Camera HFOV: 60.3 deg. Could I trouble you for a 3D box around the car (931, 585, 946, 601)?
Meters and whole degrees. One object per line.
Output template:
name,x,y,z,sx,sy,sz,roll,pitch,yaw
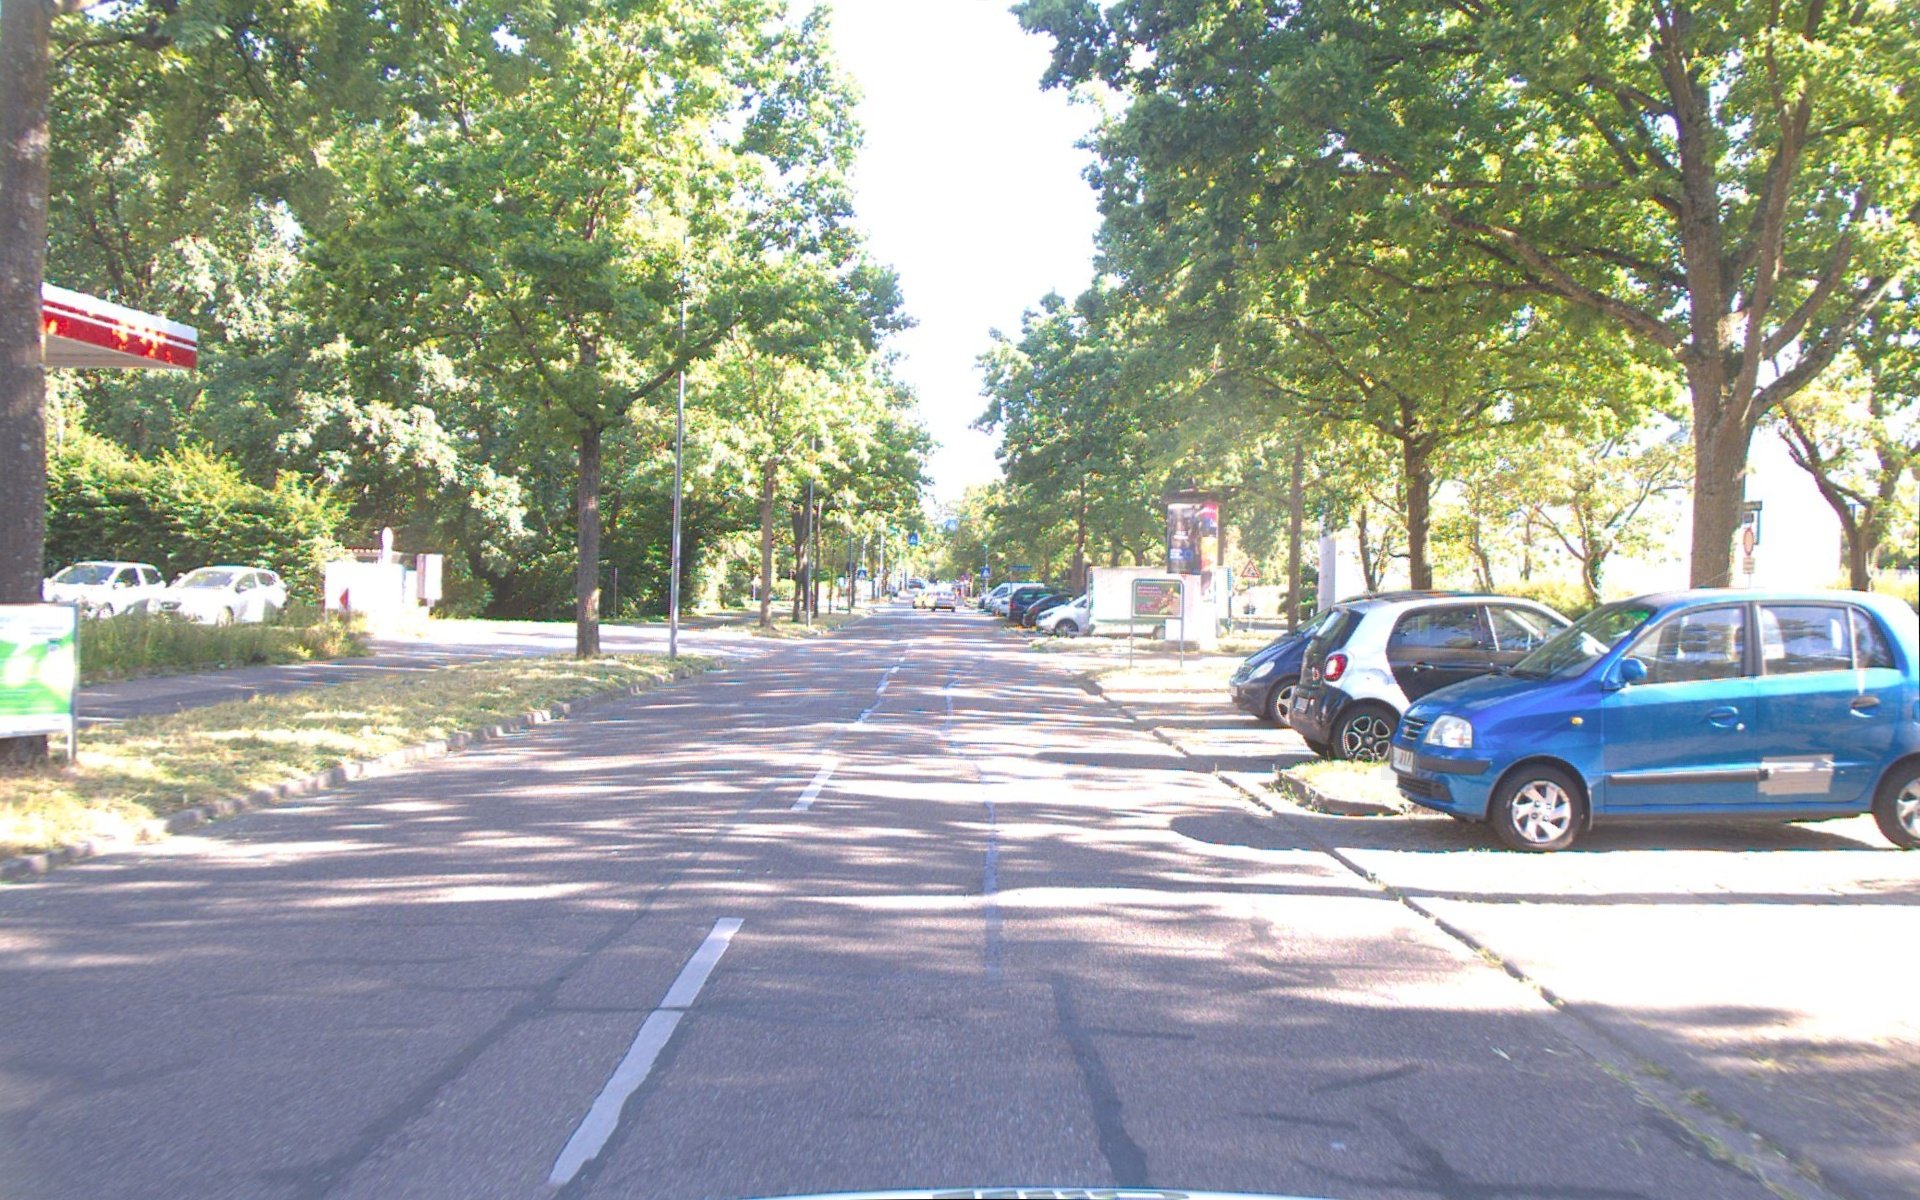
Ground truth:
car,-2.973,-0.965,225.980,1.953,2.003,3.999,2,0,-1

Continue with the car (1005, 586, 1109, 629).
car,4.229,0.308,72.364,4.437,1.832,1.936,0,0,-1

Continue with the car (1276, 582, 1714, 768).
car,4.854,0.657,15.381,3.509,1.604,1.786,0,0,1

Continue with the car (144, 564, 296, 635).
car,-16.780,-0.018,37.686,1.513,1.447,3.489,3,0,7

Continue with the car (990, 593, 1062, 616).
car,4.046,0.272,101.847,4.355,1.414,1.911,0,0,-1

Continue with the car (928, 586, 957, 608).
car,-1.284,-0.245,119.368,1.953,1.510,3.998,1,0,-2

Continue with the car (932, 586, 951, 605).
car,-1.969,-0.487,175.590,1.953,1.966,3.999,2,0,-1

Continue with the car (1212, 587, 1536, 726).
car,5.017,0.661,20.380,3.511,1.604,1.857,0,0,-2

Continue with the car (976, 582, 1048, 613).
car,3.719,-0.195,119.757,5.083,2.142,2.081,1,0,-3

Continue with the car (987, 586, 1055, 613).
car,4.018,-0.040,109.452,4.296,1.680,1.850,-1,0,-3

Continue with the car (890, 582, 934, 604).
car,-3.719,-0.553,127.826,1.969,1.684,3.966,1,0,-26

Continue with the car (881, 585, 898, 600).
car,-8.623,-0.971,202.424,1.953,1.746,3.999,2,0,-1

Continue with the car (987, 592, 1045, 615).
car,3.782,0.215,111.983,3.905,1.458,1.901,1,0,1

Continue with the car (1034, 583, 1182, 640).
car,4.685,0.350,52.754,4.547,1.752,1.987,-1,0,0

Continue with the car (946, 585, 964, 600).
car,-0.580,-0.877,196.451,1.953,1.746,3.999,2,0,-1

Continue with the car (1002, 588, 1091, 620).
car,4.496,0.211,86.657,4.575,1.608,1.916,0,0,0

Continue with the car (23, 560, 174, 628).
car,-19.489,-0.133,37.548,1.392,1.391,3.207,3,0,7

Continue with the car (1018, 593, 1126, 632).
car,4.414,0.490,65.623,4.158,1.545,2.078,0,0,0

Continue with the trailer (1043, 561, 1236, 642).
trailer,5.386,0.044,50.031,5.655,2.358,1.686,-1,0,1

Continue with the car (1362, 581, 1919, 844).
car,4.536,0.673,10.764,3.448,1.559,1.665,0,0,1
